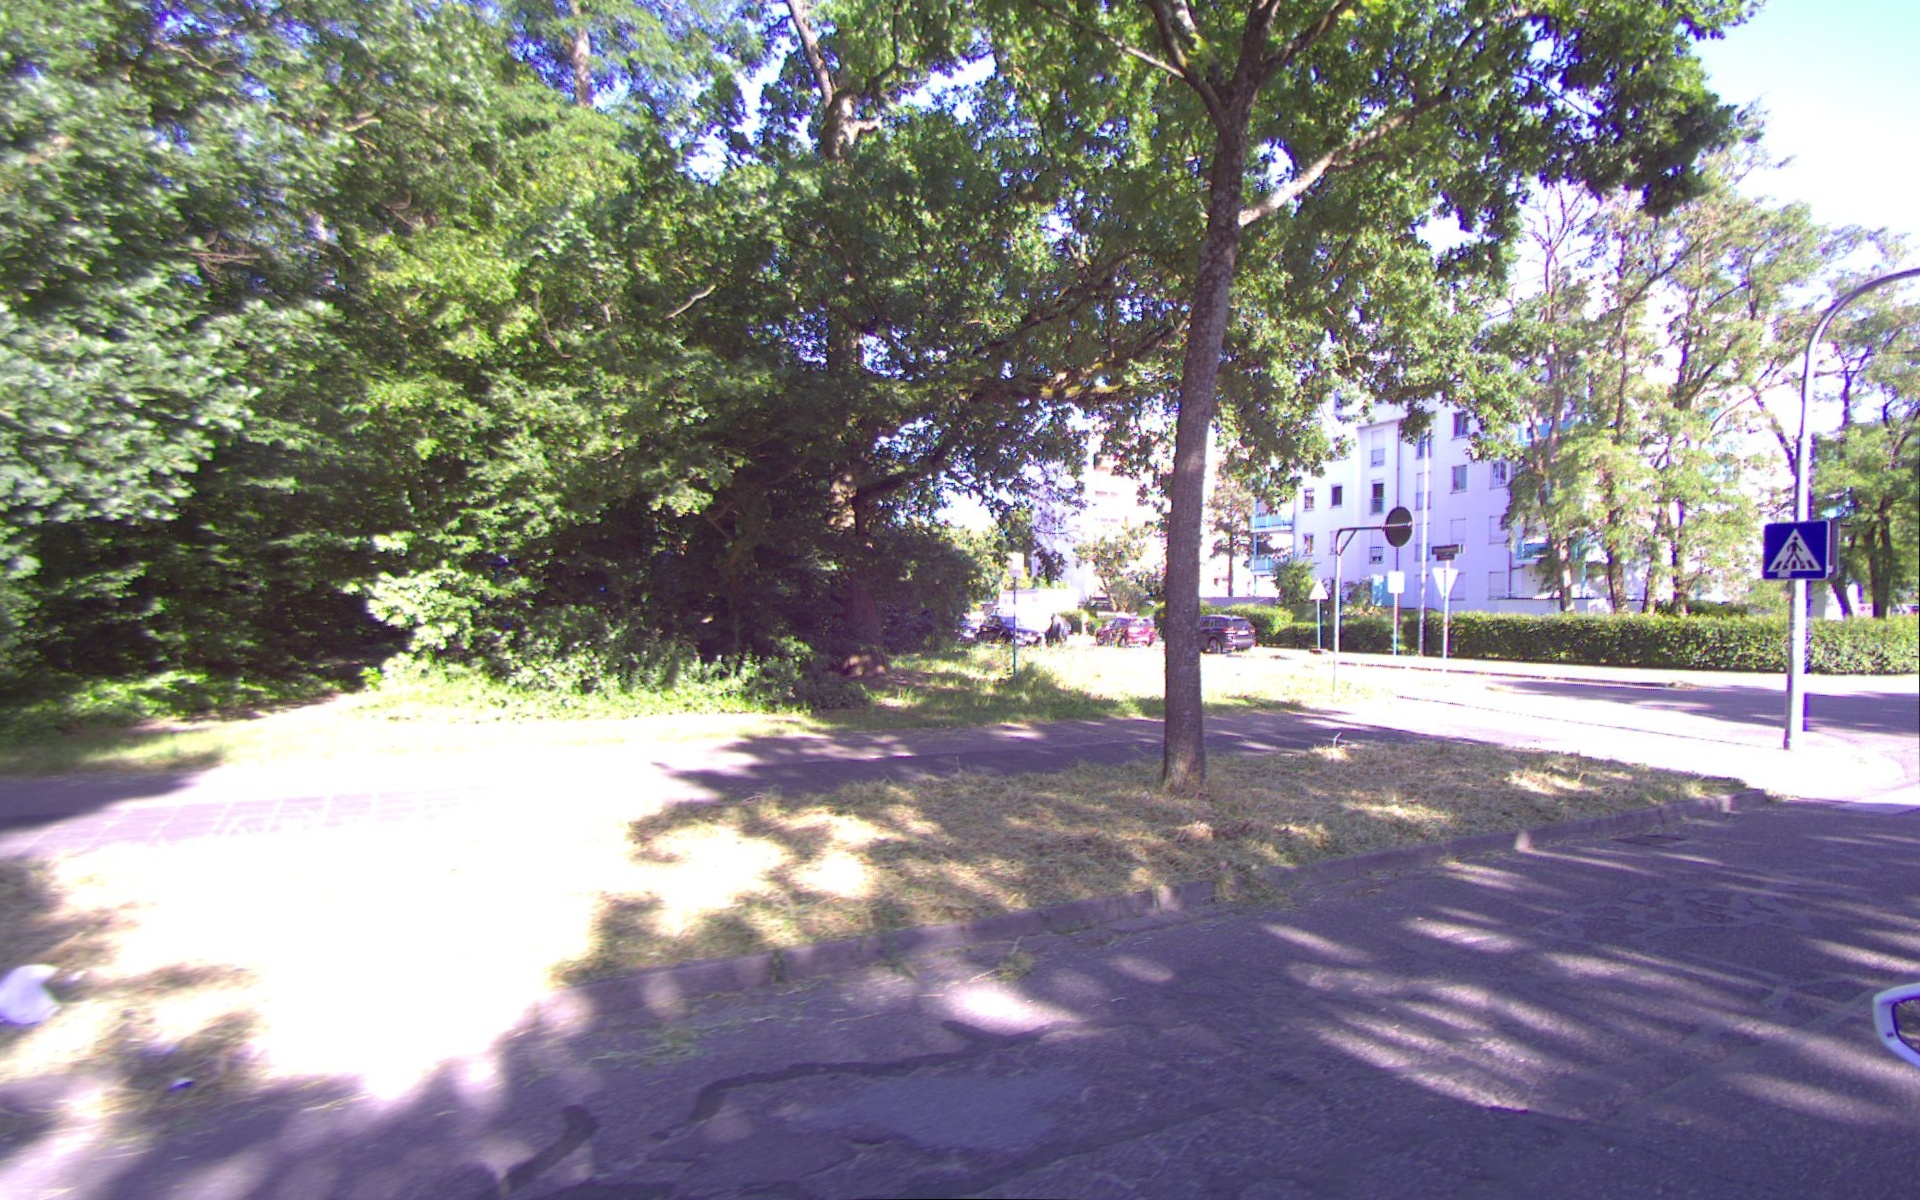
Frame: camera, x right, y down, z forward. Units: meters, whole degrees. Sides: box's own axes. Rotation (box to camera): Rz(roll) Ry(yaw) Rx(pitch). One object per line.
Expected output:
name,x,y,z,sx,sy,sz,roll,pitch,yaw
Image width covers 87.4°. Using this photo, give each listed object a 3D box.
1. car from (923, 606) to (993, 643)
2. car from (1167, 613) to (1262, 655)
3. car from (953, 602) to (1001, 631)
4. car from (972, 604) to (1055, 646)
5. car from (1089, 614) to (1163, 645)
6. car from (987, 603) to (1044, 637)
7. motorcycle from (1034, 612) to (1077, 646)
car,-0.152,1.149,48.507,1.971,1.639,3.978,1,0,-23
car,10.928,1.432,43.332,1.985,1.634,3.978,1,0,-23
car,1.186,1.153,71.507,1.969,1.983,4.454,-1,0,-20
car,2.201,1.016,42.304,1.971,1.639,3.978,1,0,-23
car,8.137,1.440,49.570,1.784,1.442,3.978,0,0,-23
car,3.388,1.208,62.573,1.969,1.983,4.454,-1,0,-20
motorcycle,3.815,1.121,39.812,1.126,1.270,2.564,1,0,19
